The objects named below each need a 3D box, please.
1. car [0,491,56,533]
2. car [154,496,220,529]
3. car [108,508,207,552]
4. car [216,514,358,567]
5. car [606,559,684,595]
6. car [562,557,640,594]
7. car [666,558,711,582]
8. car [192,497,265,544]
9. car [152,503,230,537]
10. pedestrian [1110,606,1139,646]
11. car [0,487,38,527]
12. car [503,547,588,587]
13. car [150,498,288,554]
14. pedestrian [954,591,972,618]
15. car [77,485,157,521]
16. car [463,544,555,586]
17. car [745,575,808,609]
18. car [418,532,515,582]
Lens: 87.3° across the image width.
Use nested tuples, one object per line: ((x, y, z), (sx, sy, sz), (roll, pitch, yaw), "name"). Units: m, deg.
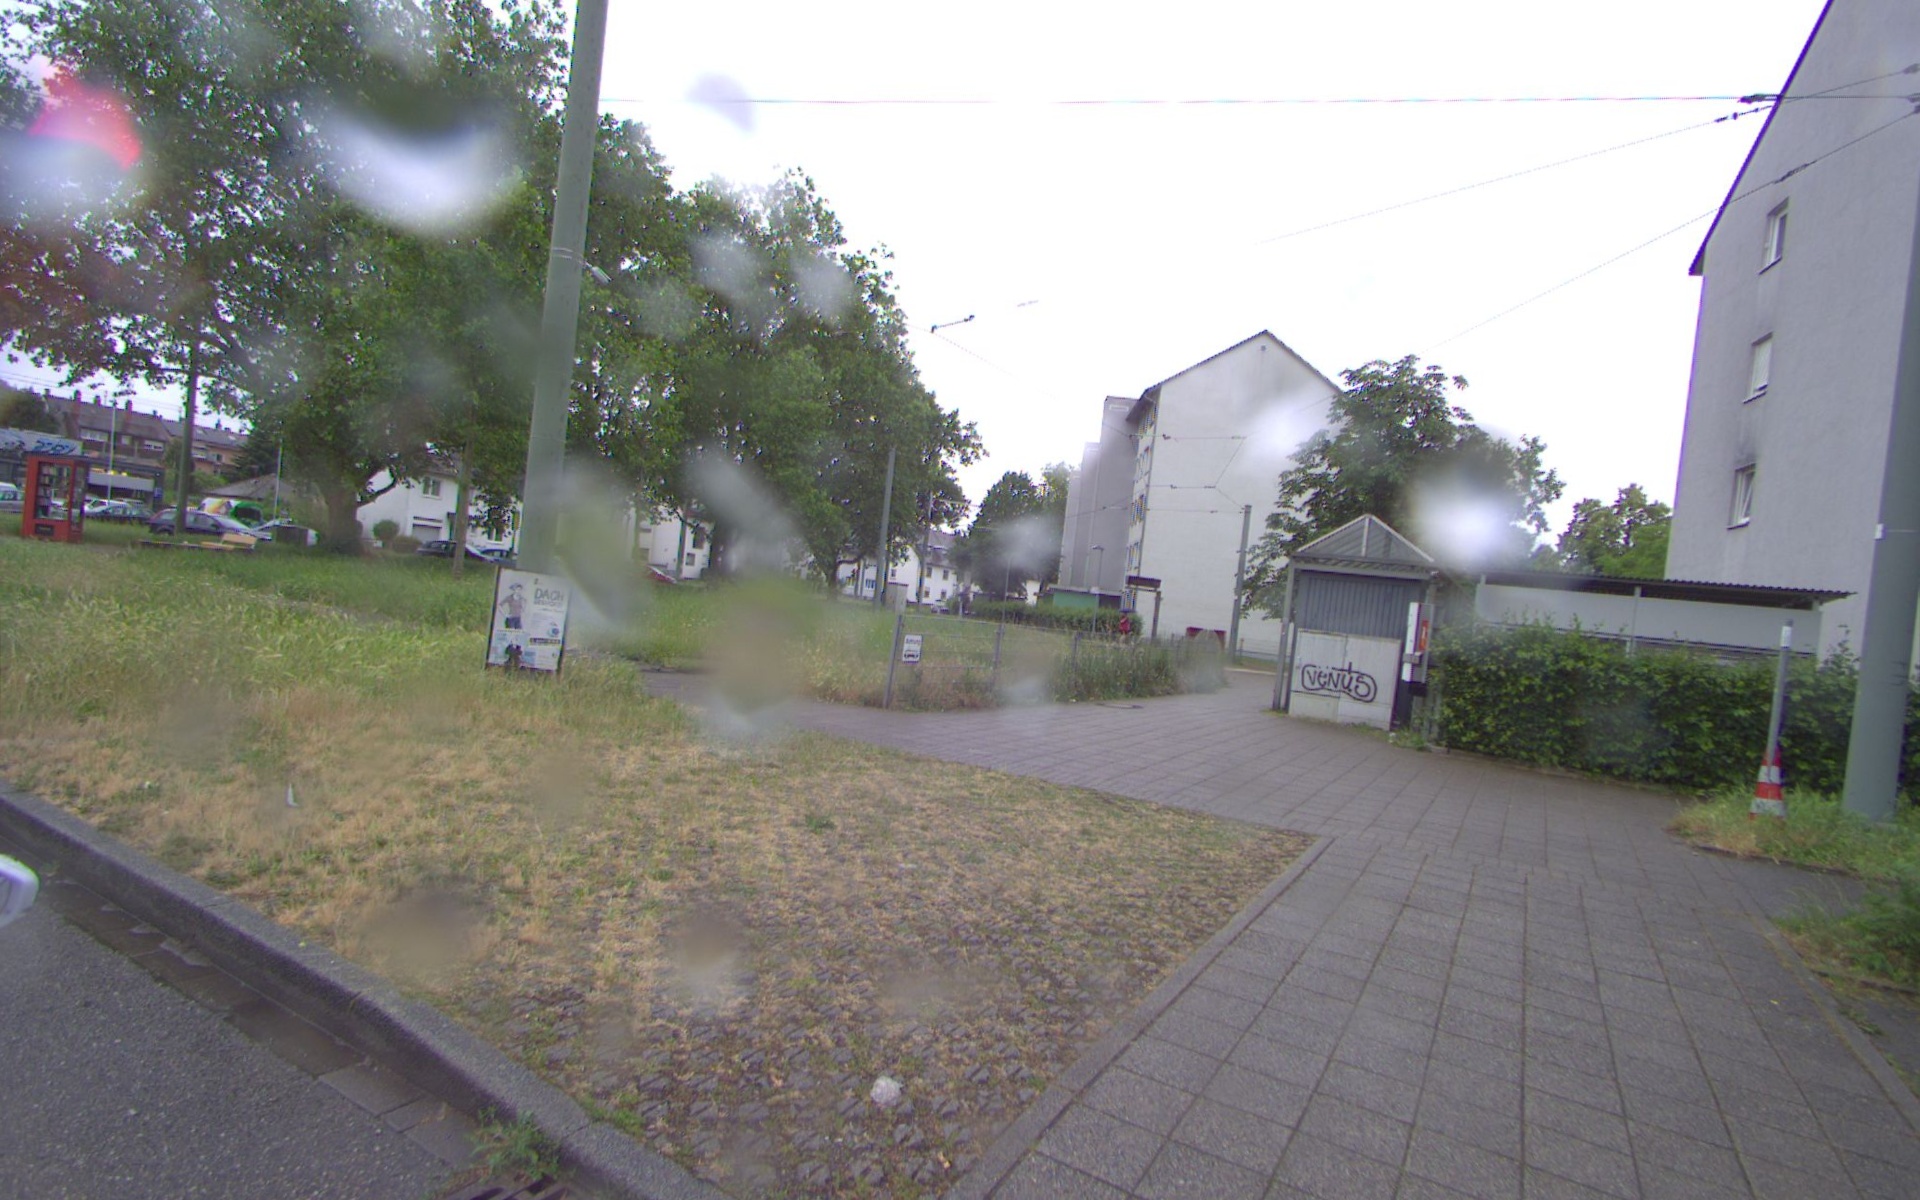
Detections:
((-46.588, -4.430, 48.726), (1.859, 1.720, 3.692), (6, -2, 32), "car")
((-62.088, -7.019, 80.775), (3.924, 2.037, 2.003), (7, -2, 14), "car")
((-43.433, -3.781, 54.509), (1.859, 1.720, 3.692), (6, -2, 32), "car")
((-25.167, -2.206, 37.709), (1.819, 1.300, 3.987), (6, -3, 39), "car")
((-18.634, -1.331, 59.588), (3.842, 1.513, 1.812), (7, -2, 3), "car")
((-20.117, -1.358, 56.531), (3.855, 1.512, 1.806), (8, -2, -15), "car")
((-25.717, -2.798, 95.523), (1.859, 1.679, 3.692), (6, -2, 32), "car")
((-46.750, -5.055, 64.266), (4.280, 2.471, 1.998), (6, -2, 31), "car")
((-55.471, -5.763, 72.604), (1.816, 1.658, 3.995), (6, -2, 32), "car")
((7.455, 1.171, 45.564), (0.806, 1.674, 0.889), (6, -1, 41), "pedestrian")
((-54.729, -5.455, 56.352), (1.966, 1.973, 3.997), (6, -2, 30), "car")
((-21.984, -1.726, 53.498), (3.855, 1.512, 1.806), (8, -2, -15), "car")
((-29.199, -2.895, 39.782), (3.855, 1.512, 1.806), (8, -2, -15), "car")
((0.198, 0.329, 72.558), (1.022, 1.811, 0.818), (7, -1, -3), "pedestrian")
((-61.536, -7.064, 73.507), (1.968, 1.811, 3.992), (6, -2, 34), "car")
((-22.811, -1.724, 51.062), (3.855, 1.512, 1.806), (8, -2, -15), "car")
((-12.748, -0.544, 70.101), (3.843, 1.785, 1.812), (7, -2, 0), "car")
((-23.736, -2.040, 48.528), (3.710, 1.819, 1.806), (8, -2, -15), "car")
